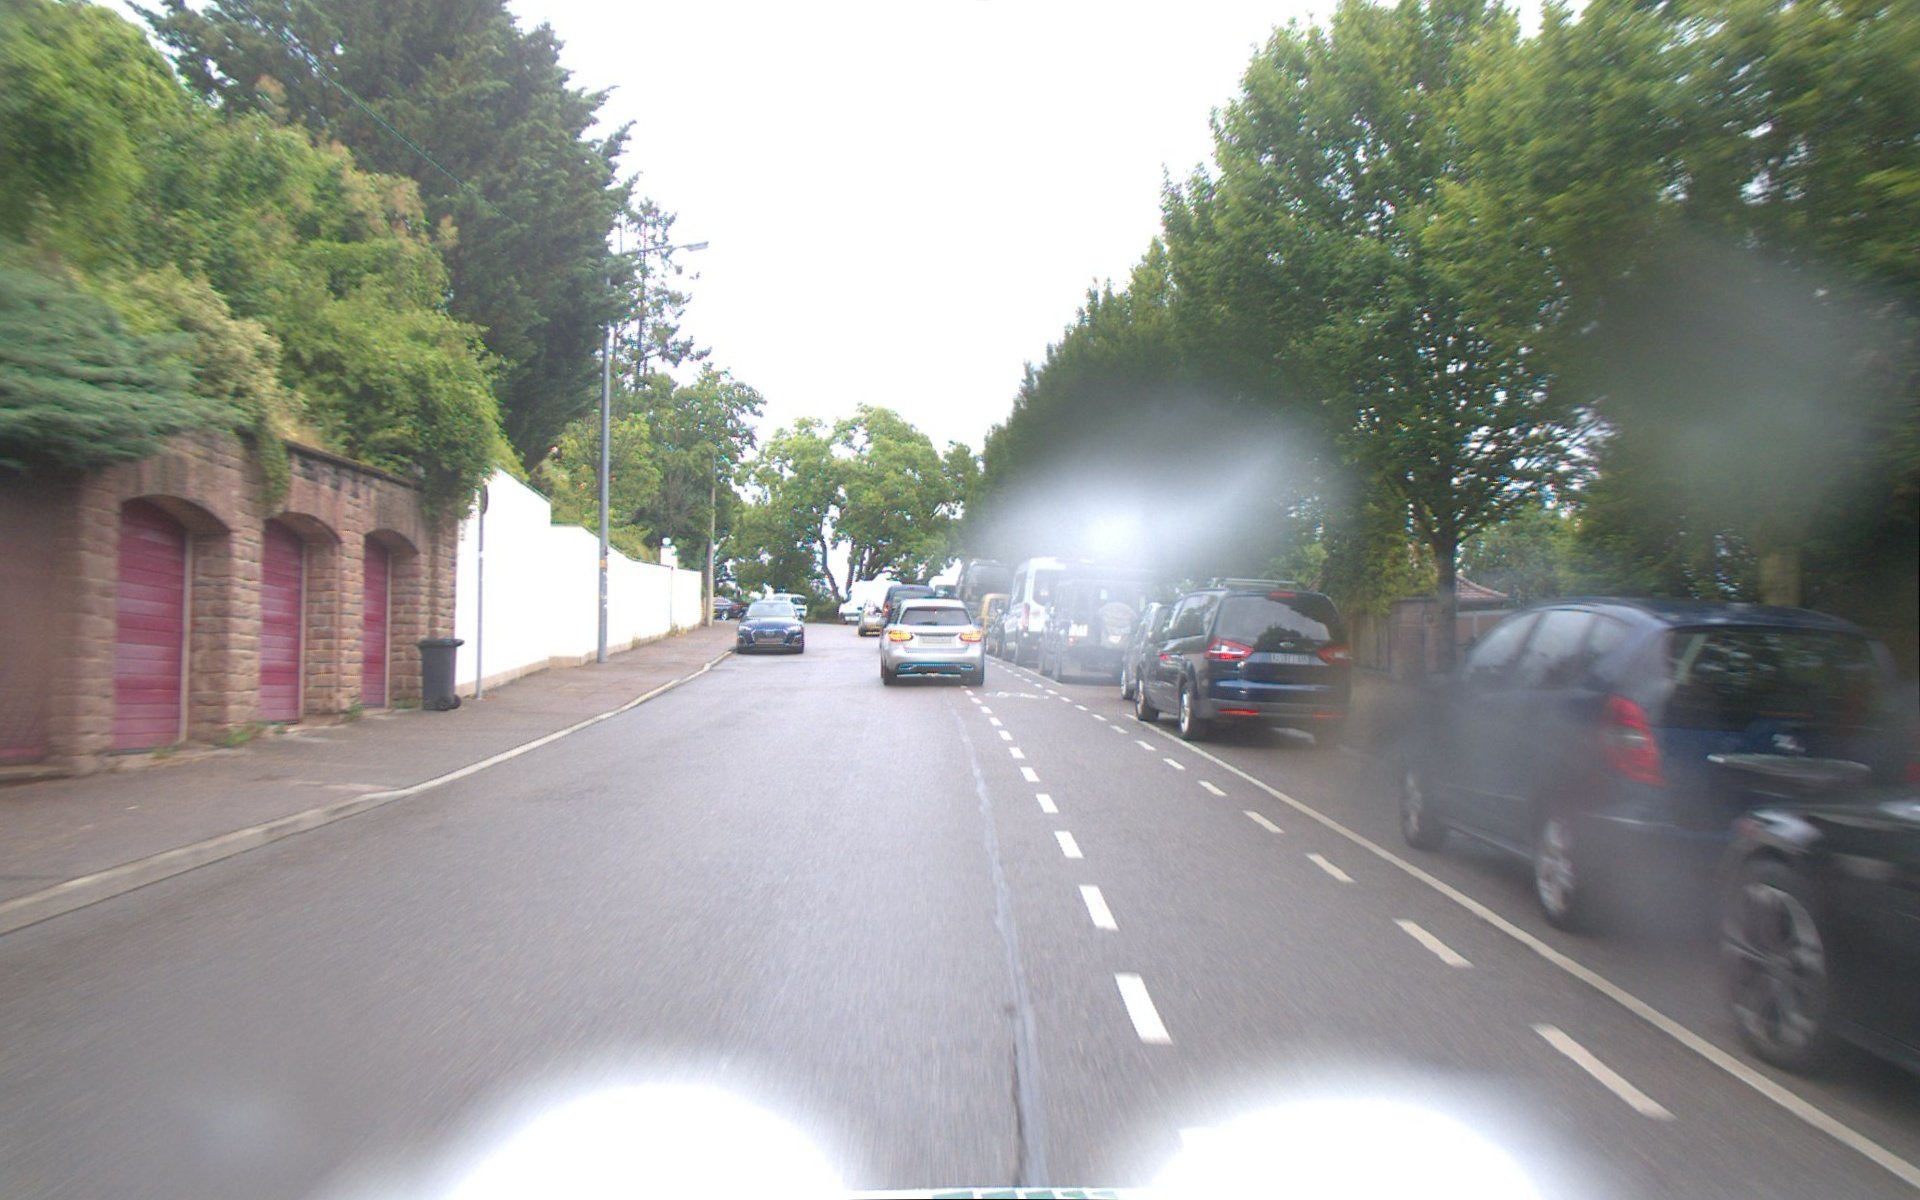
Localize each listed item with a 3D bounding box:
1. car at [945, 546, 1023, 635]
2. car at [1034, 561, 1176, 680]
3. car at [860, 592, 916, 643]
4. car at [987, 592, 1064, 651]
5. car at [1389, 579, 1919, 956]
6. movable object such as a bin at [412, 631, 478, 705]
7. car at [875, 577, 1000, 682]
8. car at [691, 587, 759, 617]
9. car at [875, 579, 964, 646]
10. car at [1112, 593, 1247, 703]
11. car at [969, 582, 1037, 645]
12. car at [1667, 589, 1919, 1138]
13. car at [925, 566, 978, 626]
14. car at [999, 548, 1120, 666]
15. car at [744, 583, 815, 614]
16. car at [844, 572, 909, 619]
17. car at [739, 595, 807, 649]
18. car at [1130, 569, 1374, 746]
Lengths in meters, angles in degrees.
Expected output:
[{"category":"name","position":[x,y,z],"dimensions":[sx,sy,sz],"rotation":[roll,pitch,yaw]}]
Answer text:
[{"category":"car","position":[0.809,-0.337,59.584],"dimensions":[2.083,2.937,5.763],"rotation":[3,0,-5]},{"category":"car","position":[2.763,0.386,32.724],"dimensions":[1.954,2.088,5.117],"rotation":[2,0,-4]},{"category":"car","position":[-2.651,0.656,61.150],"dimensions":[1.954,1.738,3.998],"rotation":[3,-1,-2]},{"category":"car","position":[1.855,0.585,47.823],"dimensions":[1.639,1.483,4.219],"rotation":[5,0,-5]},{"category":"car","position":[3.740,0.737,9.208],"dimensions":[1.658,1.598,3.922],"rotation":[2,0,0]},{"category":"movable object such as a bin","position":[-6.792,0.887,21.845],"dimensions":[0.645,0.935,0.677],"rotation":[2,0,-1]},{"category":"car","position":[-0.483,0.476,29.769],"dimensions":[1.985,1.738,4.212],"rotation":[-1,0,-4]},{"category":"car","position":[-15.804,0.141,111.267],"dimensions":[4.586,1.727,1.959],"rotation":[4,0,41]},{"category":"car","position":[-1.206,0.356,47.162],"dimensions":[1.957,1.738,3.991],"rotation":[3,-1,-9]},{"category":"car","position":[3.395,0.706,26.020],"dimensions":[1.565,1.585,2.953],"rotation":[2,0,-3]},{"category":"car","position":[1.340,0.405,53.347],"dimensions":[1.693,1.816,4.272],"rotation":[5,0,-4]},{"category":"car","position":[3.739,0.796,3.974],"dimensions":[1.953,1.564,4.849],"rotation":[3,0,0]},{"category":"car","position":[-0.419,-0.179,75.139],"dimensions":[2.023,2.537,4.756],"rotation":[3,0,-4]},{"category":"car","position":[2.341,0.147,40.621],"dimensions":[2.131,2.536,6.029],"rotation":[4,0,-3]},{"category":"car","position":[-11.766,-0.101,107.805],"dimensions":[4.409,1.727,1.962],"rotation":[4,0,37]},{"category":"car","position":[-4.998,-0.271,98.386],"dimensions":[2.102,2.571,4.455],"rotation":[3,0,-28]},{"category":"car","position":[-5.156,0.580,46.016],"dimensions":[1.714,1.381,4.421],"rotation":[0,0,-5]},{"category":"car","position":[3.334,0.598,19.798],"dimensions":[1.745,1.814,4.675],"rotation":[2,0,-4]}]
